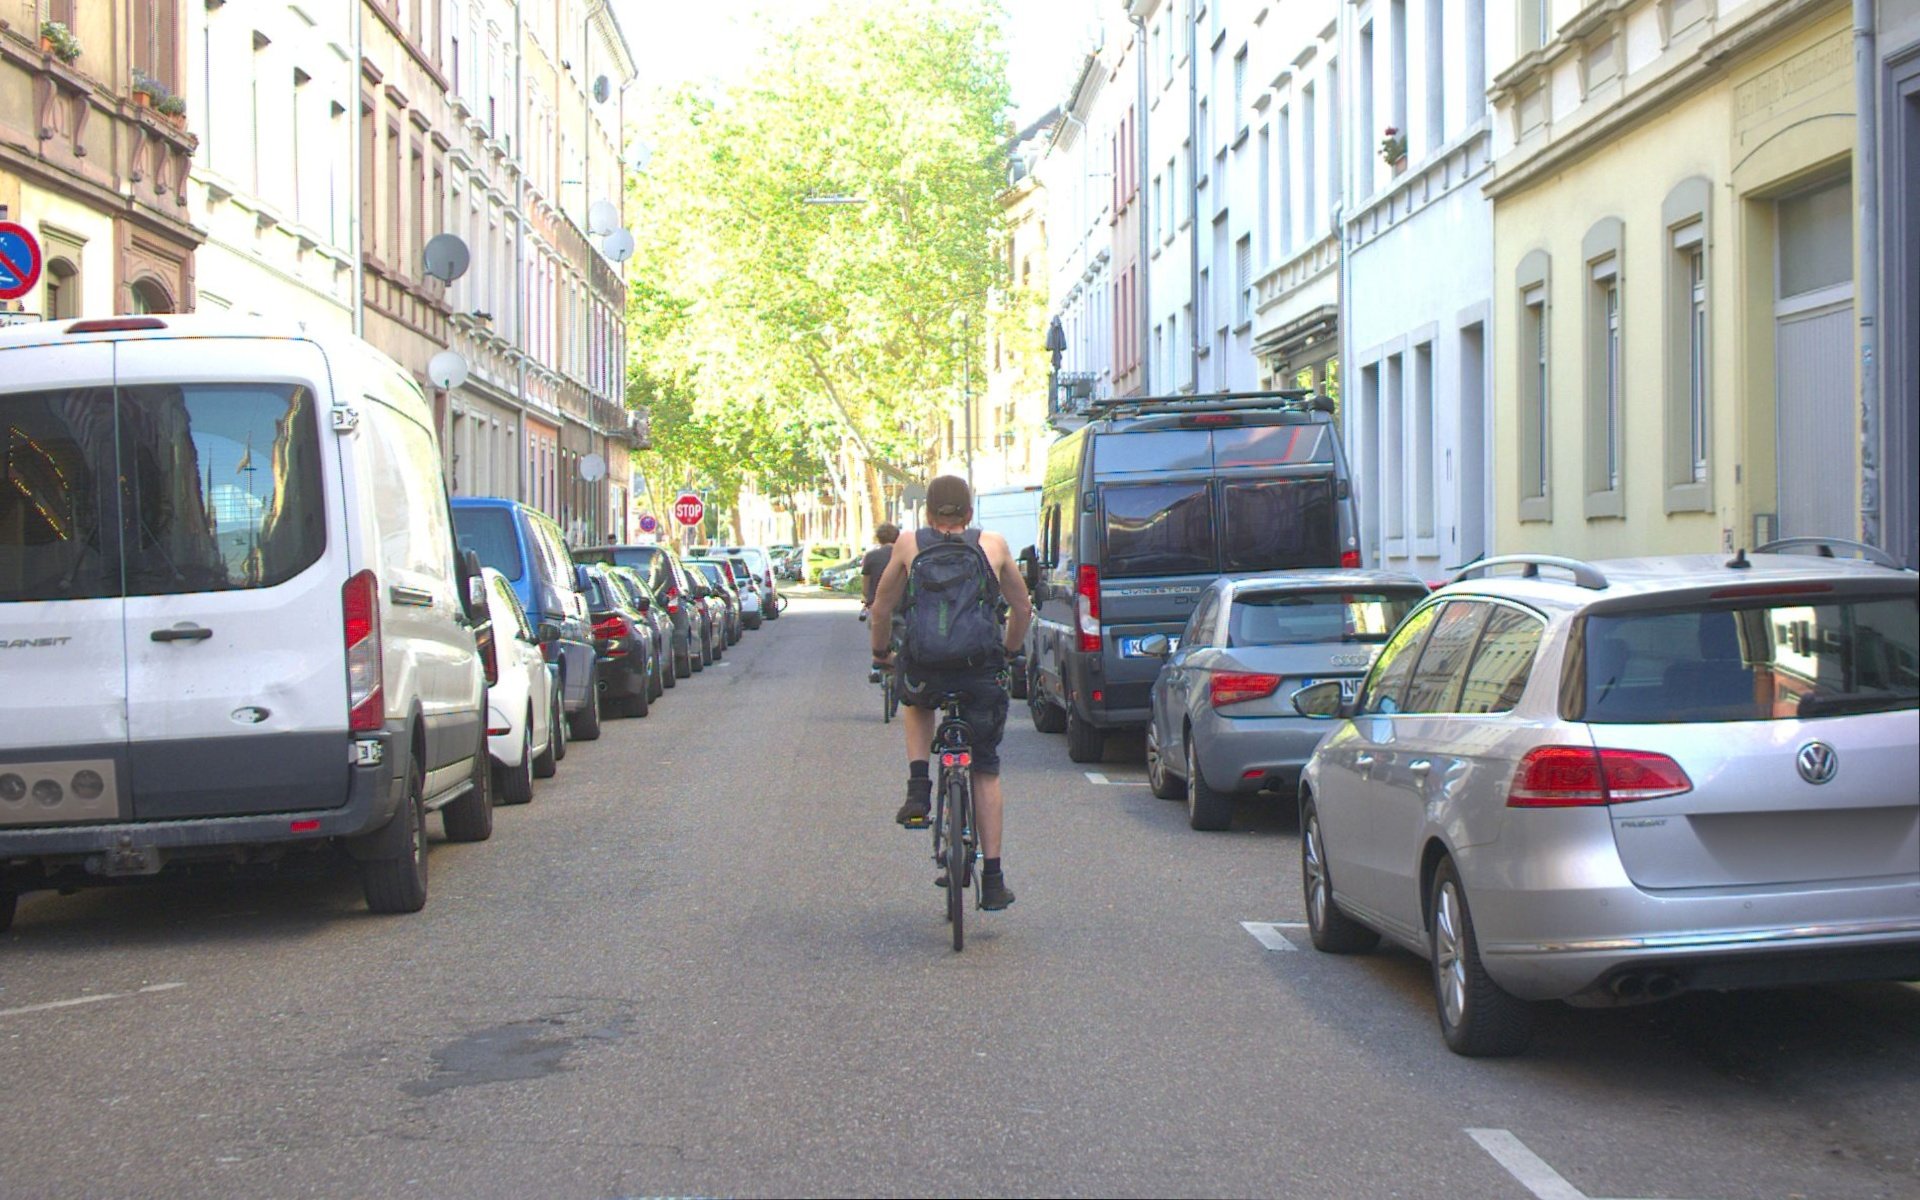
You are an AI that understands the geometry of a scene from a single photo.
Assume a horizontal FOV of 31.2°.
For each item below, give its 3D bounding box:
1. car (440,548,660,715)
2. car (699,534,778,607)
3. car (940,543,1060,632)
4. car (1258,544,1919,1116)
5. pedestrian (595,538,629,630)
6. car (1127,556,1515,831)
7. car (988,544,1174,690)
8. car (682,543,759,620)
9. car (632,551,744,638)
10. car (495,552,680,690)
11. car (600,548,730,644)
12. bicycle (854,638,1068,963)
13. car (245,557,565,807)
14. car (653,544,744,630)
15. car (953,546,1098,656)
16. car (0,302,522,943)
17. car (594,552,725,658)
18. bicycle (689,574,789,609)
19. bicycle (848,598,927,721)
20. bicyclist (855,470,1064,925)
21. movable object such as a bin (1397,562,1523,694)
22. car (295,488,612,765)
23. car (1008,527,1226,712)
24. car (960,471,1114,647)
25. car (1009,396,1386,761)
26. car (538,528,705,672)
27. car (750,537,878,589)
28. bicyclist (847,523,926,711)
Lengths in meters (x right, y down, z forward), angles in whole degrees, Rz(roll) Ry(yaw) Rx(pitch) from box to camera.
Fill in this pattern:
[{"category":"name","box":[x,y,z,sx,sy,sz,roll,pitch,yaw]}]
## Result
[{"category":"car","box":[-3.939,0.252,33.694,1.861,1.435,4.646,-1,2,-4]},{"category":"car","box":[-5.398,-0.739,84.244,1.787,1.731,3.876,-1,1,-2]},{"category":"car","box":[0.660,-0.242,59.741,1.731,1.465,4.022,-1,1,-4]},{"category":"car","box":[2.229,0.588,11.640,1.786,1.449,4.548,-4,1,-2]},{"category":"pedestrian","box":[-7.083,-0.337,69.969,0.610,1.852,0.754,1,1,-2]},{"category":"car","box":[2.027,0.472,20.402,1.747,1.439,4.172,0,1,-2]},{"category":"car","box":[1.281,0.140,37.942,1.746,1.480,4.243,-1,1,-2]},{"category":"car","box":[-5.041,-0.402,72.049,1.544,1.545,3.466,-1,1,-5]},{"category":"car","box":[-4.686,-0.127,59.720,1.706,1.409,4.302,-1,1,-2]},{"category":"car","box":[-4.143,0.197,38.753,1.736,1.422,4.000,-1,1,-2]},{"category":"car","box":[-4.652,-0.085,54.659,1.674,1.425,3.888,-1,1,1]},{"category":"bicycle","box":[-0.029,0.731,13.343,0.740,1.097,2.042,1,1,-2]},{"category":"car","box":[-3.526,0.465,22.412,1.645,1.442,3.840,-1,1,-3]},{"category":"car","box":[-4.893,-0.262,64.676,1.604,1.525,3.379,-2,1,-3]},{"category":"car","box":[0.873,-0.019,47.771,1.725,1.424,3.833,-1,1,-3]},{"category":"car","box":[-3.440,0.047,16.350,2.168,2.443,5.922,-2,1,-3]},{"category":"car","box":[-4.303,0.046,49.690,1.592,1.435,3.654,-1,1,-1]},{"category":"bicycle","box":[-6.039,-0.225,93.970,2.715,0.889,0.619,-1,1,-4]},{"category":"bicycle","box":[-0.661,0.518,30.967,0.664,1.034,1.959,-1,1,-2]},{"category":"bicyclist","box":[-0.018,0.352,13.267,0.740,1.673,1.117,1,1,-2]},{"category":"movable object such as a bin","box":[4.219,0.233,29.034,0.863,1.039,0.708,-4,1,-3]},{"category":"car","box":[-3.871,0.150,26.997,1.827,1.885,4.614,-3,1,-2]},{"category":"car","box":[1.446,0.138,33.192,1.693,1.602,4.375,-3,1,-2]},{"category":"car","box":[1.151,-0.652,53.213,2.204,2.542,6.036,-1,1,0]},{"category":"car","box":[1.668,-0.202,26.618,2.175,2.417,6.310,-2,1,-2]},{"category":"car","box":[-4.348,-0.033,44.707,1.801,1.692,4.000,-3,1,-2]},{"category":"car","box":[-5.250,-1.335,123.499,4.468,1.753,1.867,-1,1,-6]},{"category":"bicyclist","box":[-0.663,0.142,30.928,0.669,1.653,0.877,-1,1,-2]}]
